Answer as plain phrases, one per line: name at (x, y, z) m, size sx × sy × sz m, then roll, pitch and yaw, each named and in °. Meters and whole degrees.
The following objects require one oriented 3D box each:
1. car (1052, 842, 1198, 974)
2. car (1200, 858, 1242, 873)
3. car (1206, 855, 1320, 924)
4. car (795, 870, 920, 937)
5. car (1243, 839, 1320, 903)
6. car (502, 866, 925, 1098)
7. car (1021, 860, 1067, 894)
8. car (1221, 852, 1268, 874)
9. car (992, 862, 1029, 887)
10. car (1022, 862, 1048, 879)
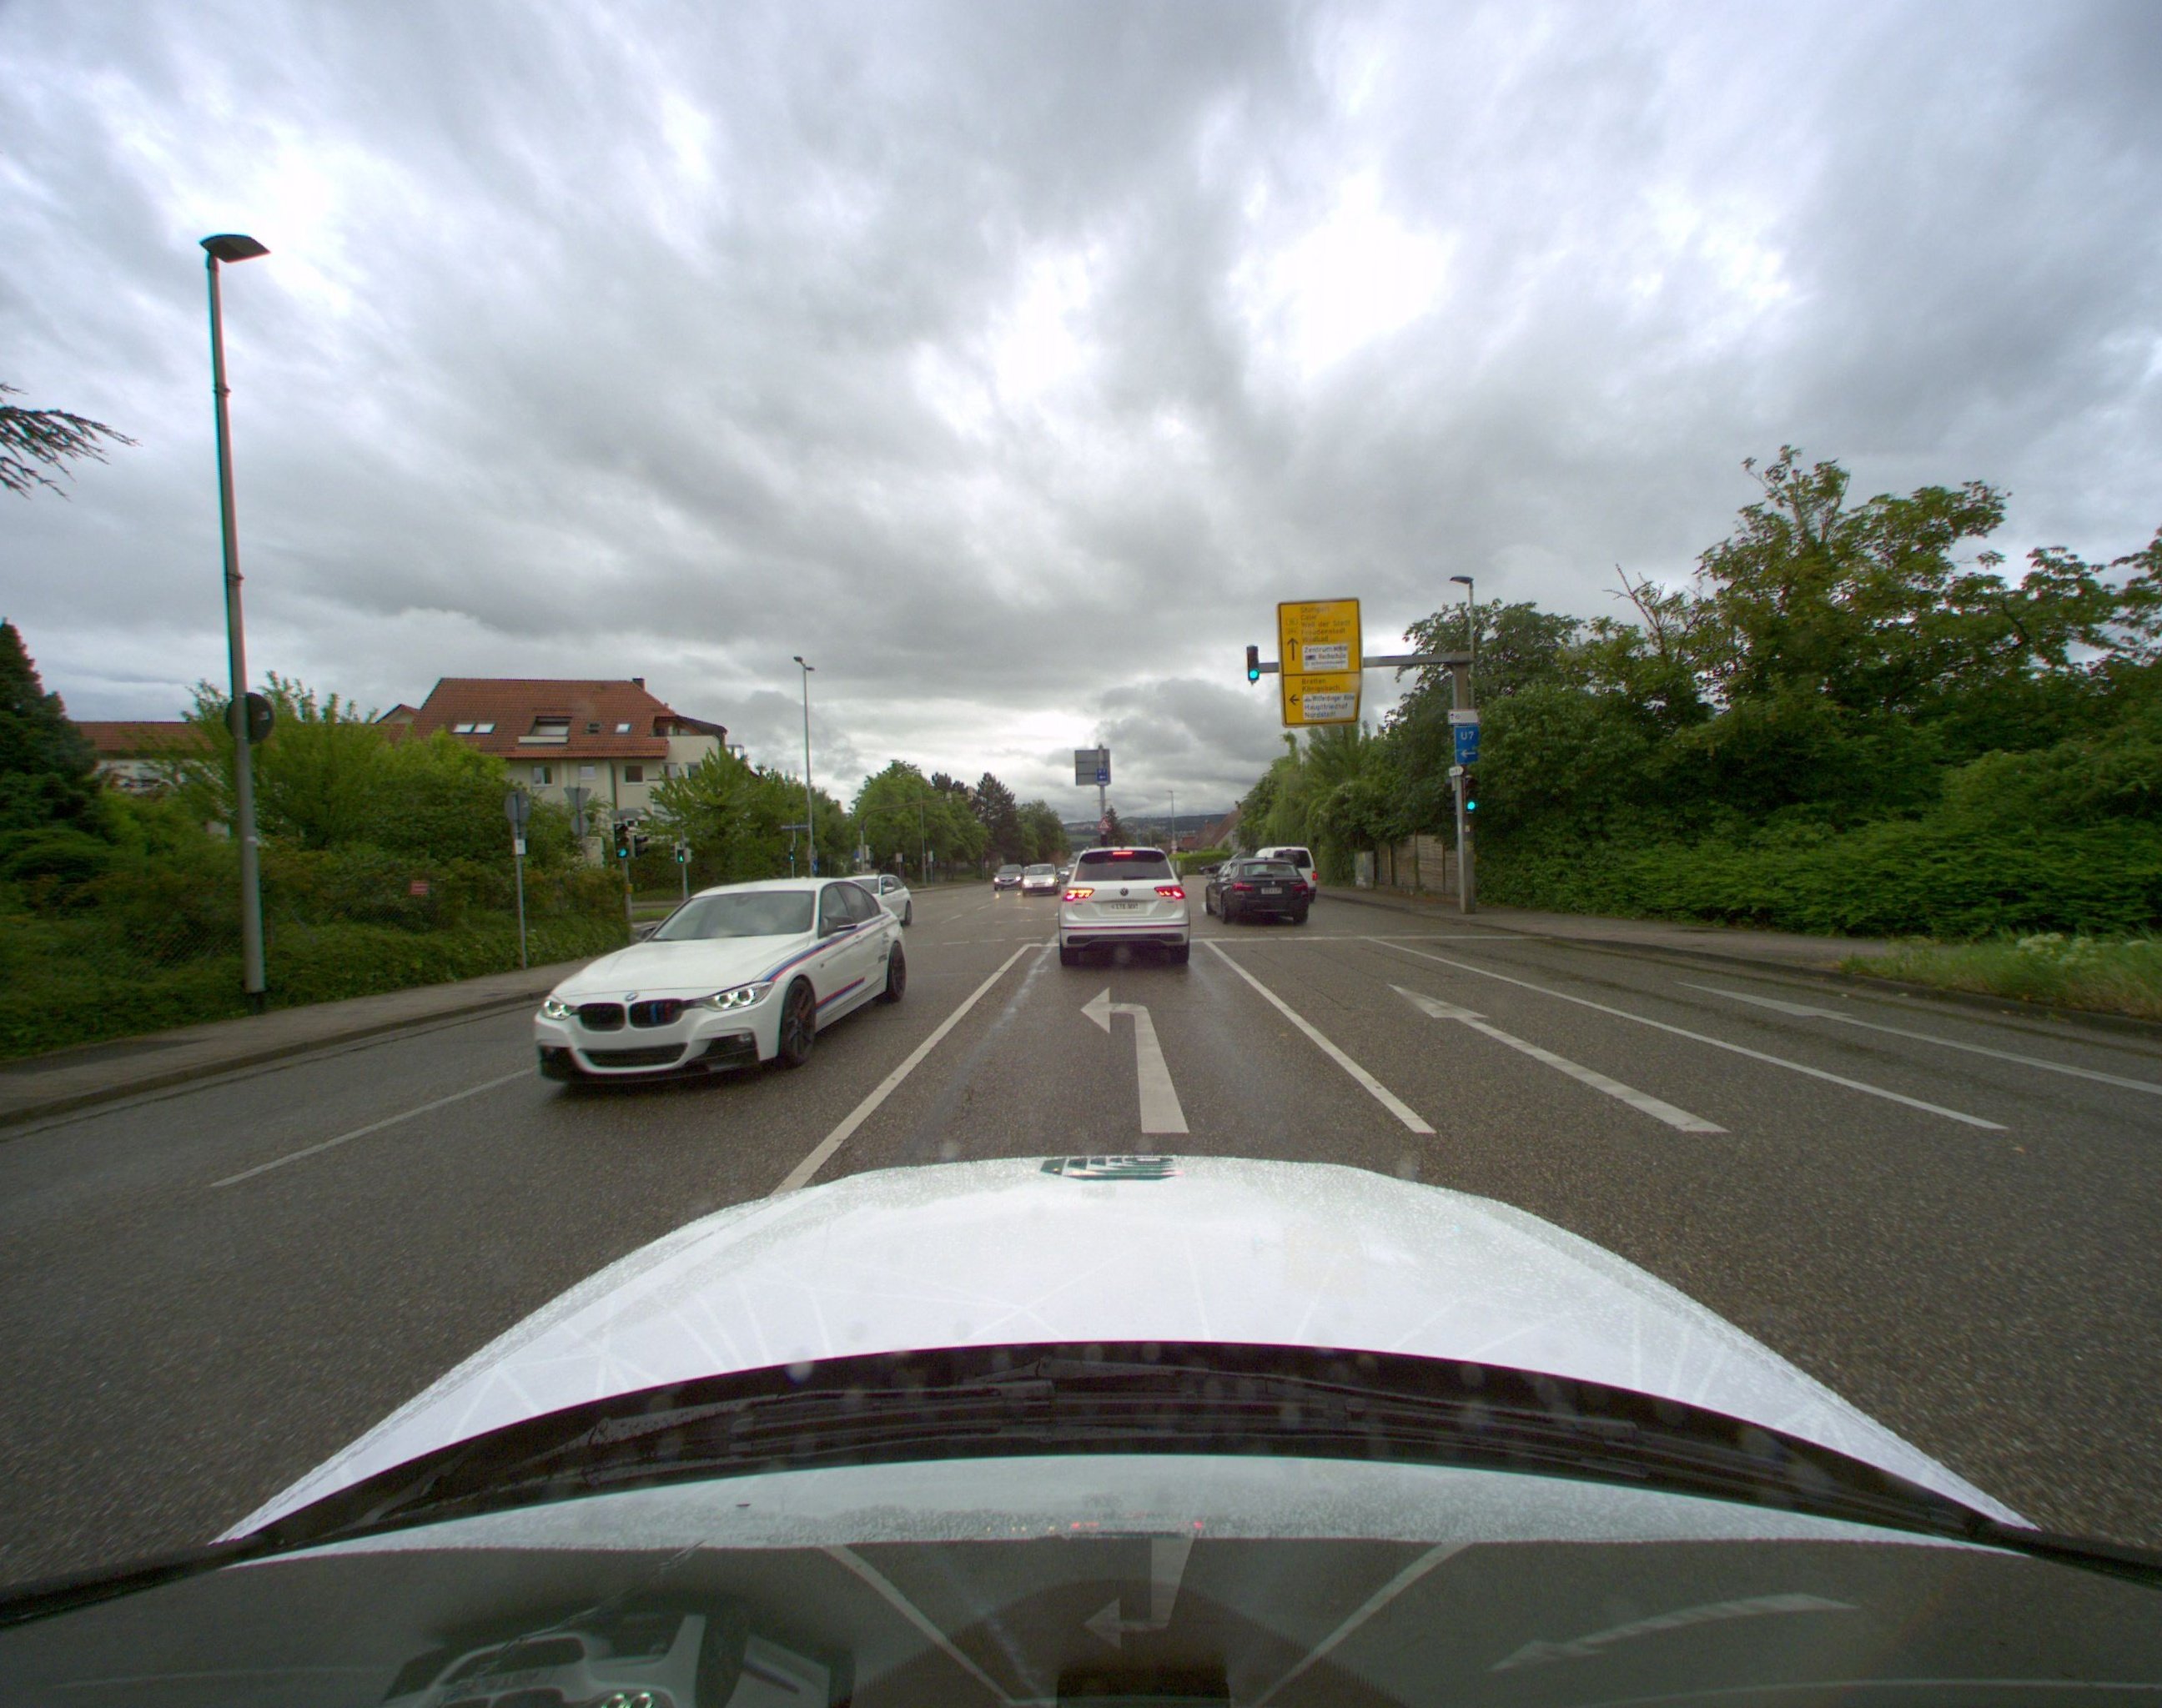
car at (0.636, 0.686, 12.542) m, size 1.861 × 1.673 × 4.002 m, roll -1°, pitch 0°, yaw 2°
car at (13.532, 1.147, 78.844) m, size 3.968 × 1.376 × 1.587 m, roll -1°, pitch 0°, yaw 5°
car at (4.105, 0.786, 18.998) m, size 1.892 × 1.442 × 4.001 m, roll 0°, pitch -1°, yaw 2°
car at (-5.568, 1.174, 20.946) m, size 1.768 × 1.385 × 4.551 m, roll -3°, pitch 0°, yaw 2°
car at (6.708, 0.505, 27.641) m, size 1.758 × 1.877 × 3.807 m, roll -1°, pitch 2°, yaw 1°
car at (-2.918, 0.904, 7.717) m, size 1.742 × 1.385 × 4.414 m, roll -4°, pitch 0°, yaw 3°
car at (-1.716, 1.050, 39.045) m, size 1.768 × 1.458 × 4.551 m, roll -3°, pitch 0°, yaw 2°
car at (14.823, 0.796, 73.946) m, size 3.968 × 1.956 × 1.587 m, roll -1°, pitch 0°, yaw 5°
car at (-4.460, 1.292, 52.300) m, size 1.768 × 1.458 × 4.551 m, roll -3°, pitch 0°, yaw 2°
car at (-3.828, 1.344, 67.822) m, size 1.643 × 1.273 × 3.625 m, roll -2°, pitch 0°, yaw 4°
